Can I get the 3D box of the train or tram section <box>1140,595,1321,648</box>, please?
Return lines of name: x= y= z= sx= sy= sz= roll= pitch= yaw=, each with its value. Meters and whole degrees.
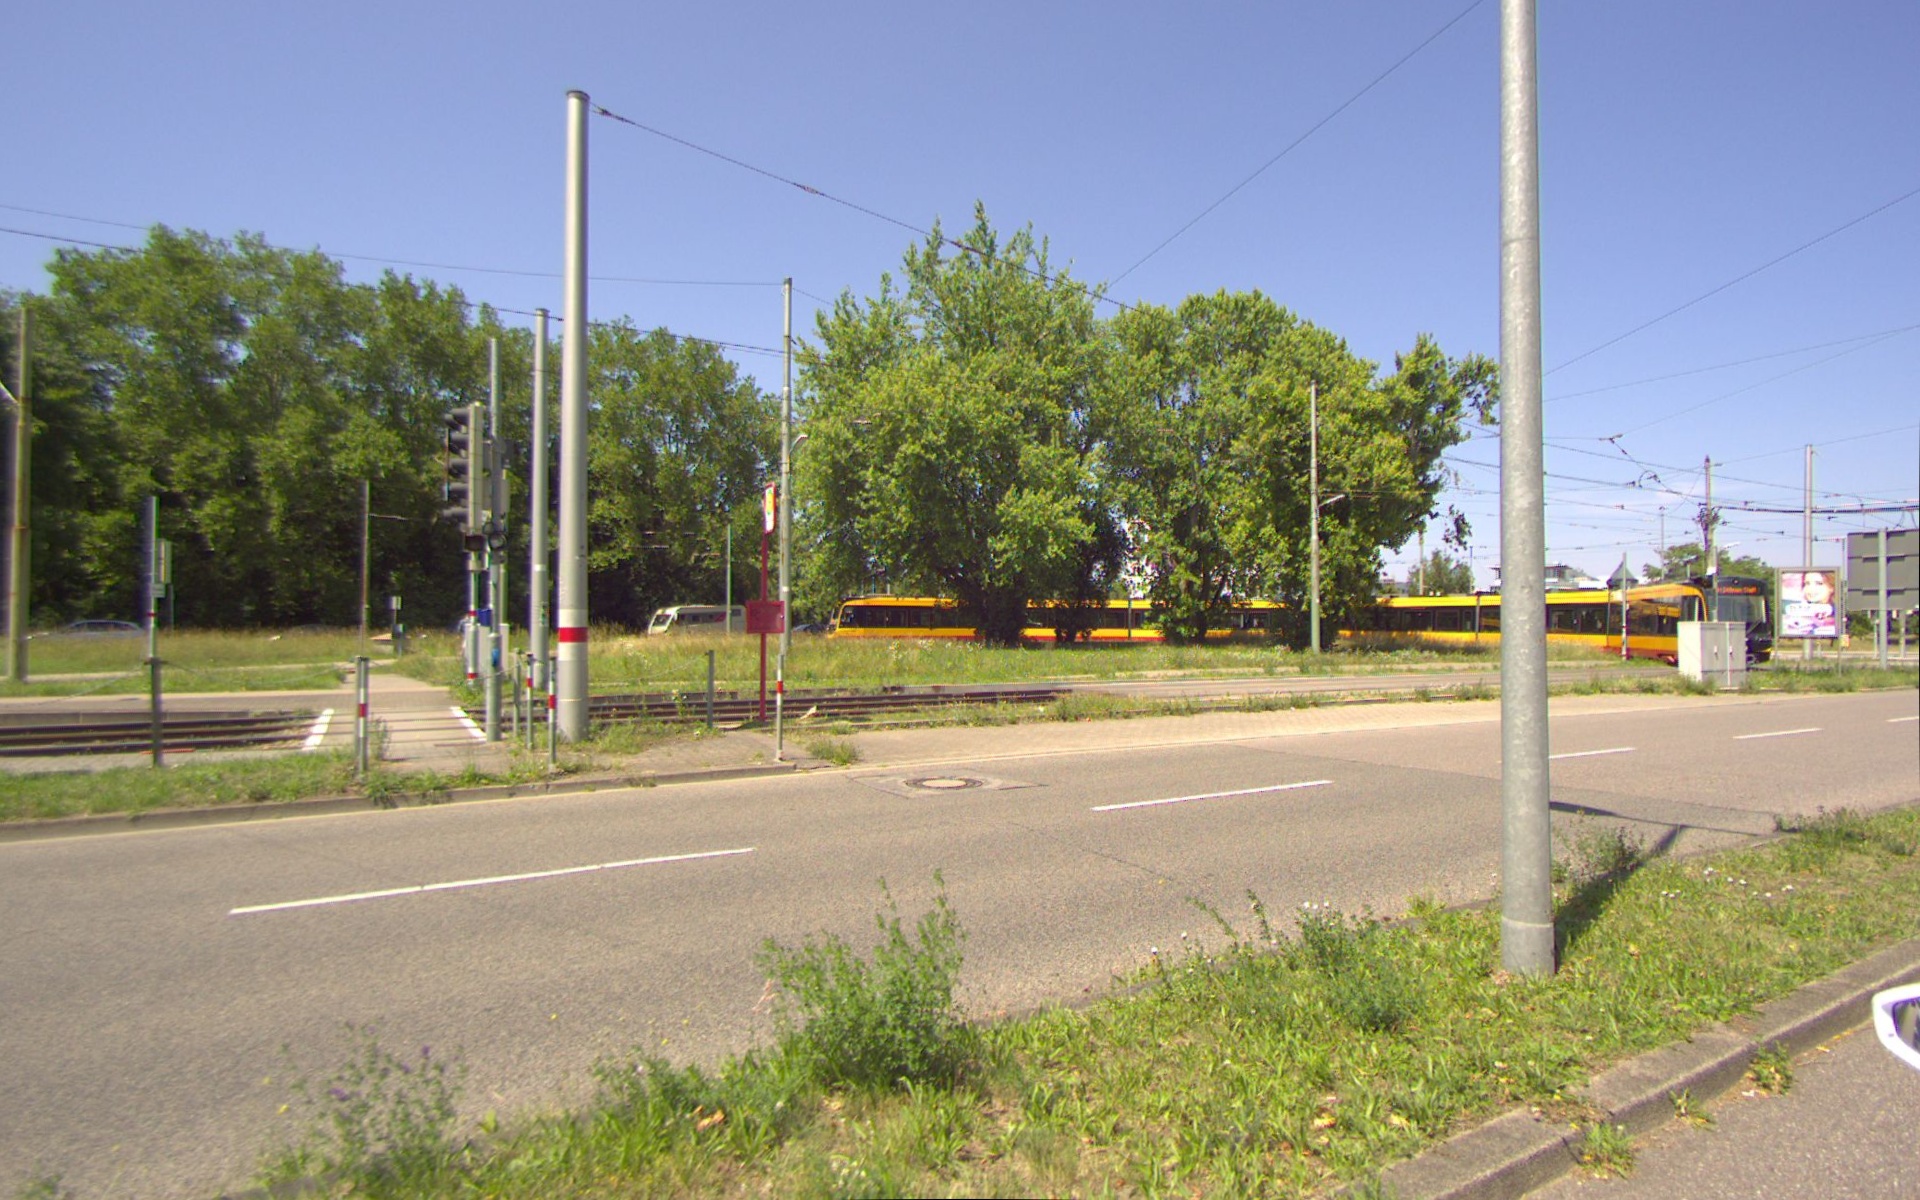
train or tram section: x=19.778 y=1.487 z=73.782 sx=12.507 sy=3.512 sz=3.044 roll=1 pitch=0 yaw=24

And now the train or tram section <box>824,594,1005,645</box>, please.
train or tram section: x=-3.211 y=1.421 z=73.468 sx=13.090 sy=3.512 sz=3.026 roll=1 pitch=0 yaw=-26

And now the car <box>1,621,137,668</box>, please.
car: x=-36.960 y=1.800 z=41.729 sx=1.970 sy=1.751 sz=3.981 roll=1 pitch=0 yaw=40

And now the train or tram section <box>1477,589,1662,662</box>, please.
train or tram section: x=32.454 y=1.257 z=54.249 sx=2.989 sy=3.512 sz=10.214 roll=1 pitch=0 yaw=-6

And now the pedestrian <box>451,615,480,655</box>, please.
pedestrian: x=-20.426 y=1.441 z=41.501 sx=0.677 sy=1.595 sz=0.791 roll=1 pitch=0 yaw=13

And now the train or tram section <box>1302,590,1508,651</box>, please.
train or tram section: x=28.317 y=1.176 z=64.973 sx=3.014 sy=3.512 sz=12.633 roll=1 pitch=0 yaw=-33

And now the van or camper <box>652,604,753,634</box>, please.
van or camper: x=-18.750 y=1.376 z=73.570 sx=1.970 sy=2.040 sz=7.322 roll=1 pitch=0 yaw=40

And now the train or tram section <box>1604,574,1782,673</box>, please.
train or tram section: x=30.413 y=0.852 z=42.471 sx=2.987 sy=3.512 sz=13.286 roll=1 pitch=0 yaw=23

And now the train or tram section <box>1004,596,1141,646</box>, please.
train or tram section: x=8.422 y=1.568 z=76.144 sx=10.023 sy=3.512 sz=3.046 roll=1 pitch=0 yaw=-1
